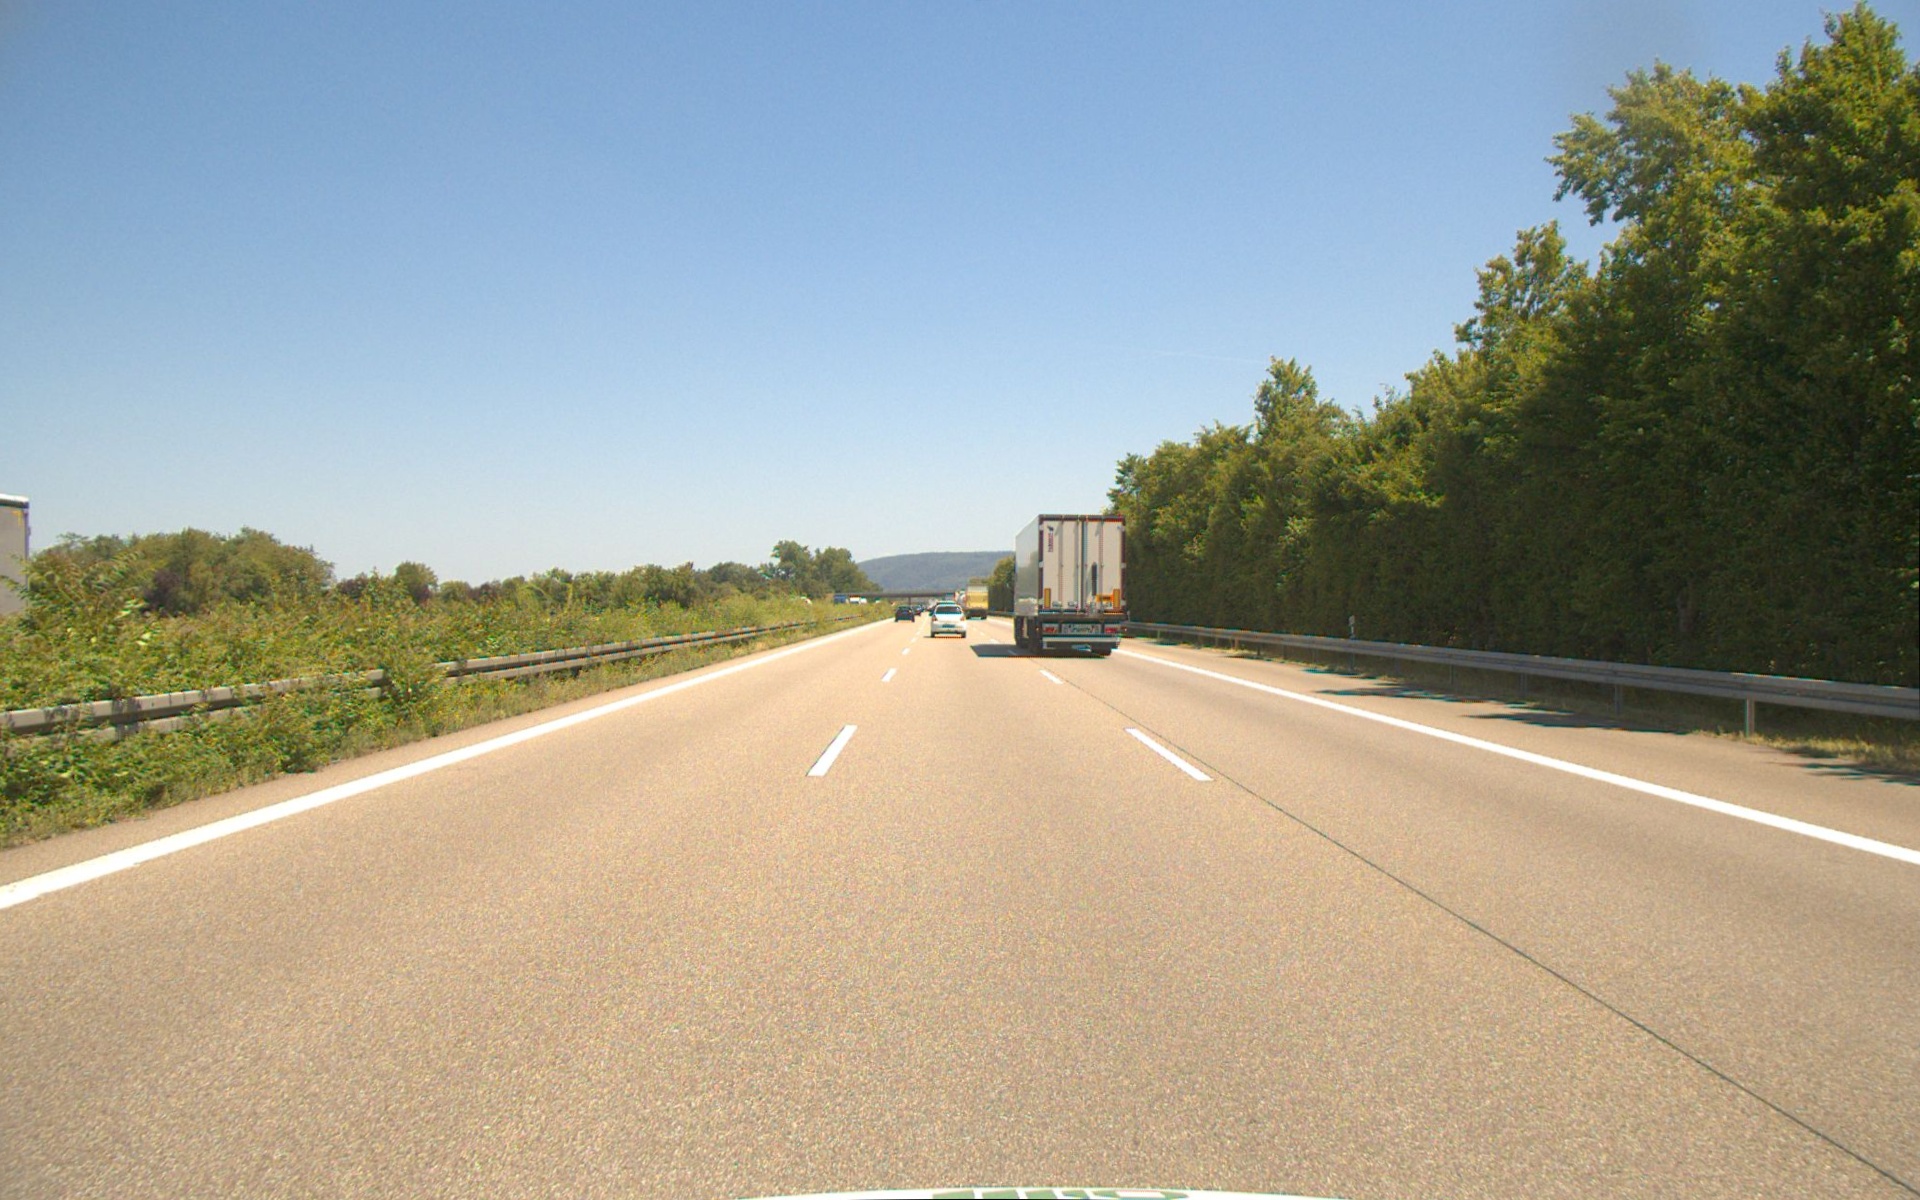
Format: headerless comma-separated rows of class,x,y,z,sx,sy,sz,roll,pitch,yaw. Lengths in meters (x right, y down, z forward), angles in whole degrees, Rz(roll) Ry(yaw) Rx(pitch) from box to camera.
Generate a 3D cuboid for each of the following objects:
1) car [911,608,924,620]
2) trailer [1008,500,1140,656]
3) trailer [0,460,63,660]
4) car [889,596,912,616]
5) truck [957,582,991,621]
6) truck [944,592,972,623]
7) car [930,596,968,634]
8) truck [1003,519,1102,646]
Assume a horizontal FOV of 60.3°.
car,-5.992,1.968,234.981,1.759,1.578,3.999,0,0,-1
trailer,3.477,-0.623,54.321,3.152,4.421,13.626,1,0,-1
trailer,-19.546,-0.784,26.211,3.282,3.763,14.376,1,0,-2
car,-5.305,0.513,148.522,1.953,1.742,3.999,1,0,-1
truck,1.586,0.199,195.538,3.792,4.421,13.858,1,0,-1
truck,-0.331,1.169,254.592,4.184,4.733,13.857,0,0,-1
car,-0.534,0.699,77.728,1.697,1.713,3.999,-1,0,-1
truck,3.363,-0.626,61.655,3.152,4.421,6.589,1,0,-1
